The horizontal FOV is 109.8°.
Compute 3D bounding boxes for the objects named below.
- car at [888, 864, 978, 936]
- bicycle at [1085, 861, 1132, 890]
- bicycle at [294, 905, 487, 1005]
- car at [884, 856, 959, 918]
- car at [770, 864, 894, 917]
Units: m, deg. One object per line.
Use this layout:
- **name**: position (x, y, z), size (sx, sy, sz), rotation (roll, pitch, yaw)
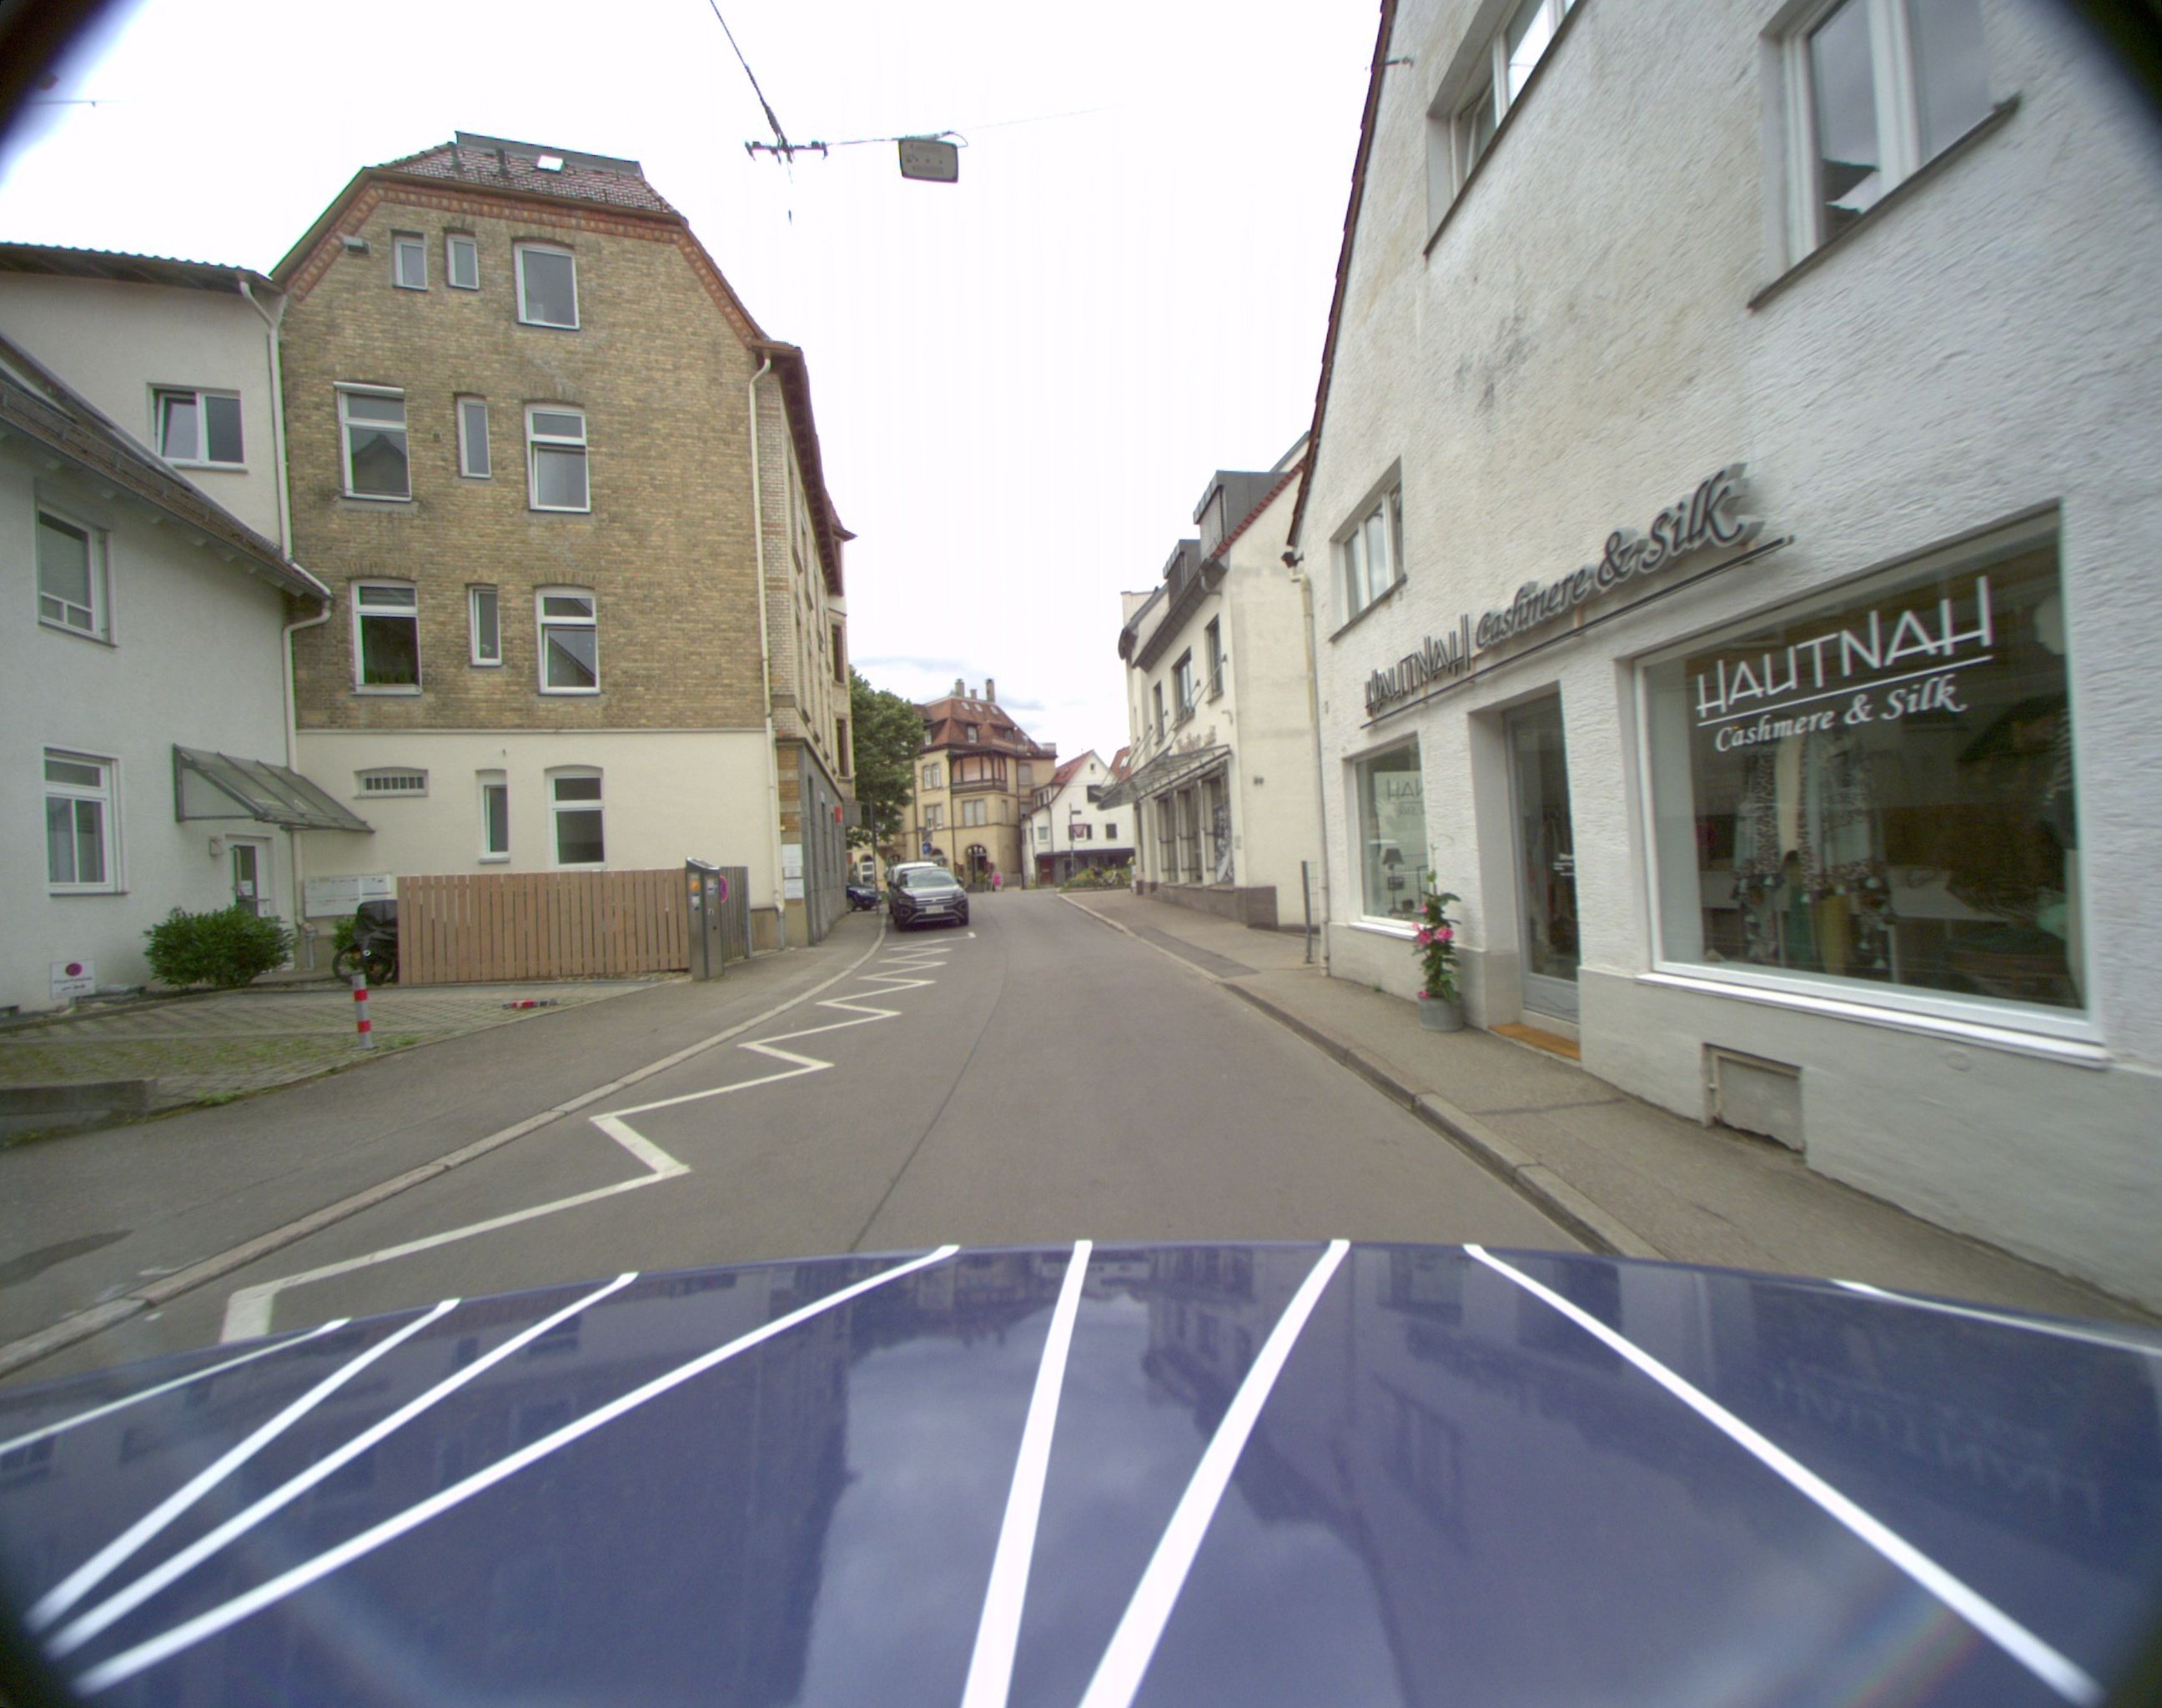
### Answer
- **car**: position (-4.102, 1.139, 20.505), size (1.795, 1.591, 4.536), rotation (-4, 0, -18)
- **bicycle**: position (1.274, 0.995, 35.472), size (1.982, 1.232, 0.743), rotation (-3, -1, -23)
- **bicycle**: position (-9.841, 1.387, 10.987), size (0.961, 1.211, 2.100), rotation (-1, -2, -4)
- **car**: position (-5.377, 1.065, 25.254), size (1.833, 1.781, 4.212), rotation (-4, 0, -19)
- **car**: position (-9.593, 1.388, 29.401), size (4.016, 1.694, 1.864), rotation (-4, 1, 11)
